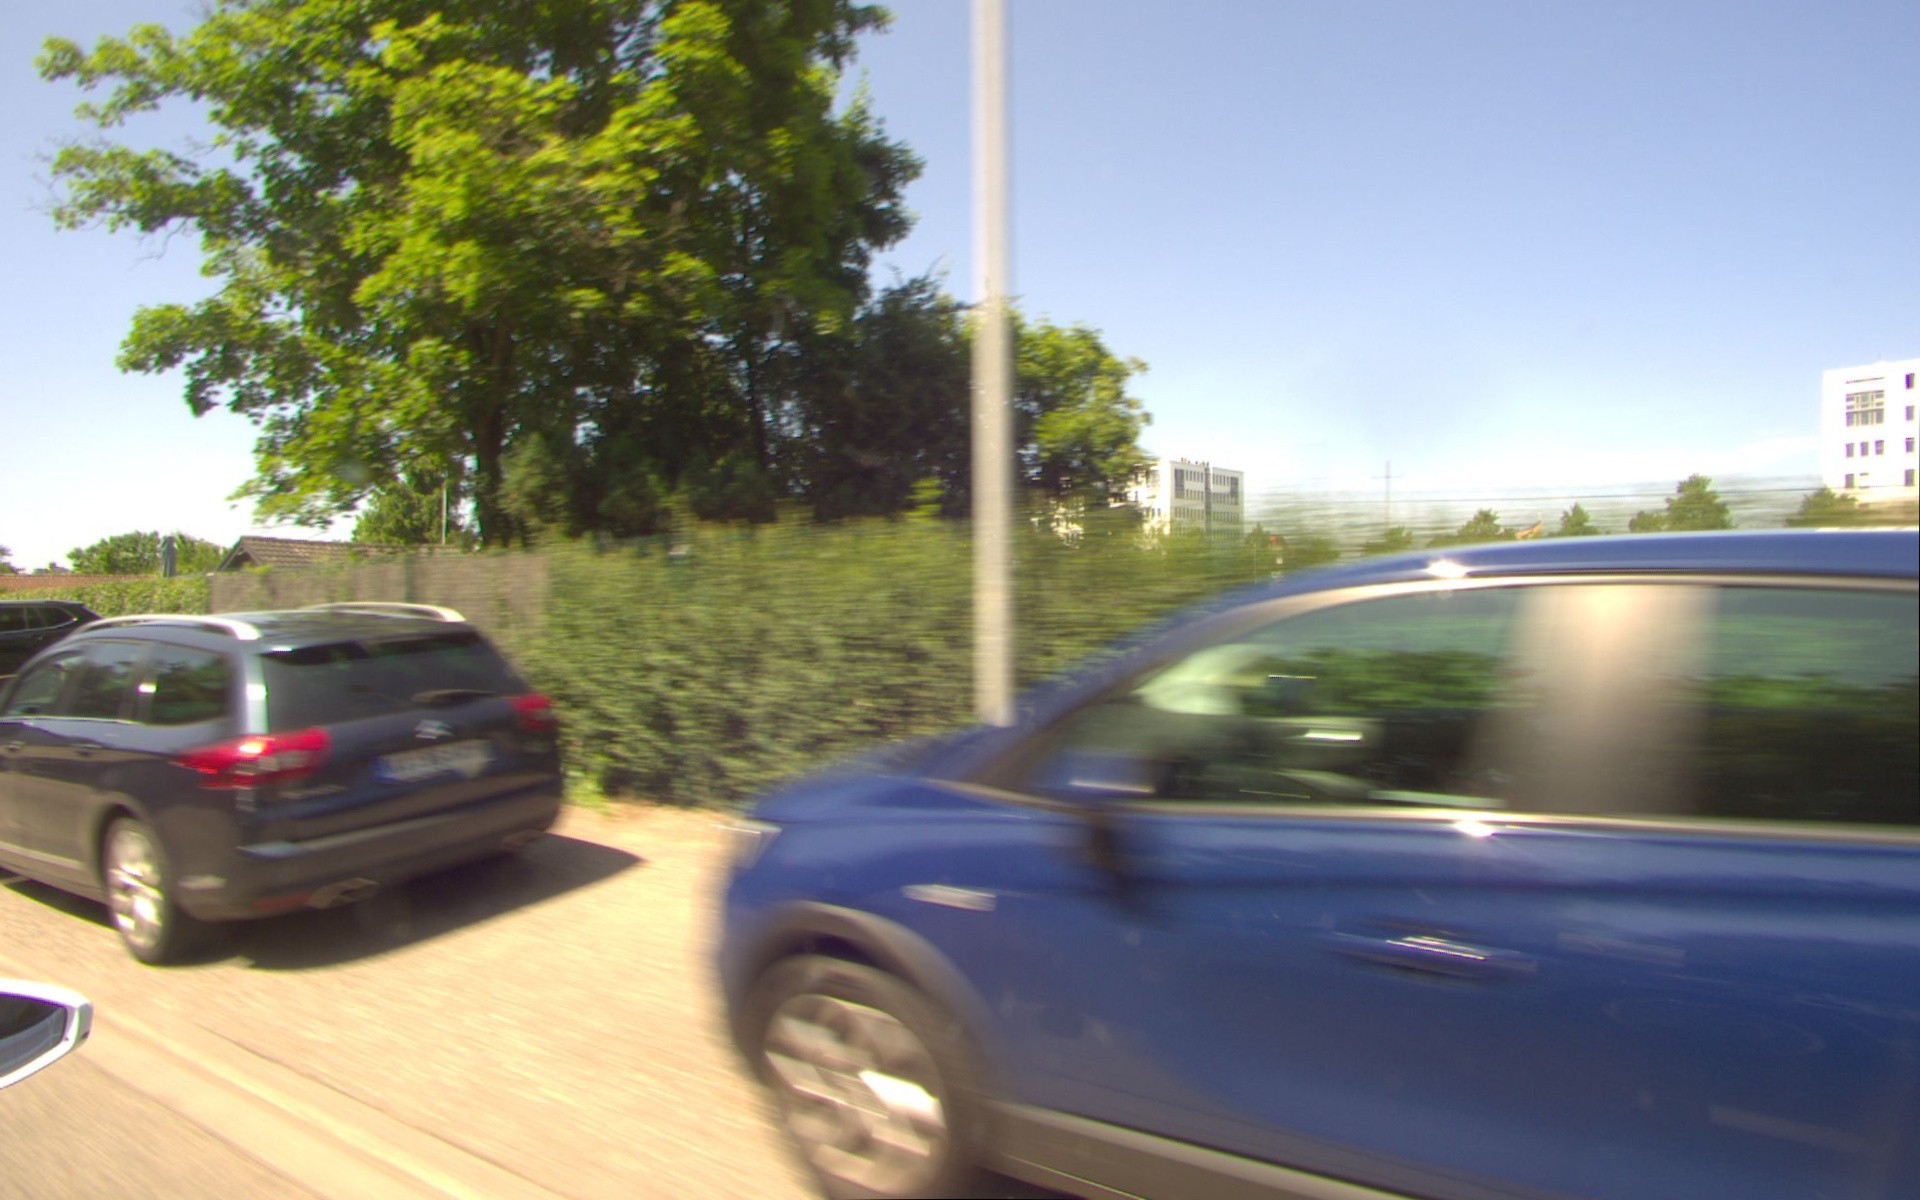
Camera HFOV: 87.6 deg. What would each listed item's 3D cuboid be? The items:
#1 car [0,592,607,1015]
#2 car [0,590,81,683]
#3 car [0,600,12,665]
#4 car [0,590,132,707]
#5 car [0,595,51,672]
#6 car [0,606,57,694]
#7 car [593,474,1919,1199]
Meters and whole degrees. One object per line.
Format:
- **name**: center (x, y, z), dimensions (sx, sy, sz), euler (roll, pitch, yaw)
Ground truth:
- **car**: center (-4.283, 0.771, 5.717), dimensions (4.598, 1.502, 1.784), euler (0, 3, 33)
- **car**: center (-19.606, 0.772, 18.823), dimensions (1.829, 1.722, 4.241), euler (0, 3, 35)
- **car**: center (-23.677, 0.866, 21.404), dimensions (1.933, 1.459, 4.546), euler (0, 3, 31)
- **car**: center (-15.812, 0.820, 15.284), dimensions (1.886, 1.728, 4.458), euler (0, 3, 32)
- **car**: center (-21.462, 0.801, 20.358), dimensions (1.733, 1.570, 4.038), euler (0, 3, 32)
- **car**: center (-18.049, 0.943, 16.830), dimensions (1.809, 1.472, 3.977), euler (0, 3, 39)
- **car**: center (1.178, 0.637, 2.443), dimensions (4.070, 1.625, 1.785), euler (0, 1, 32)
